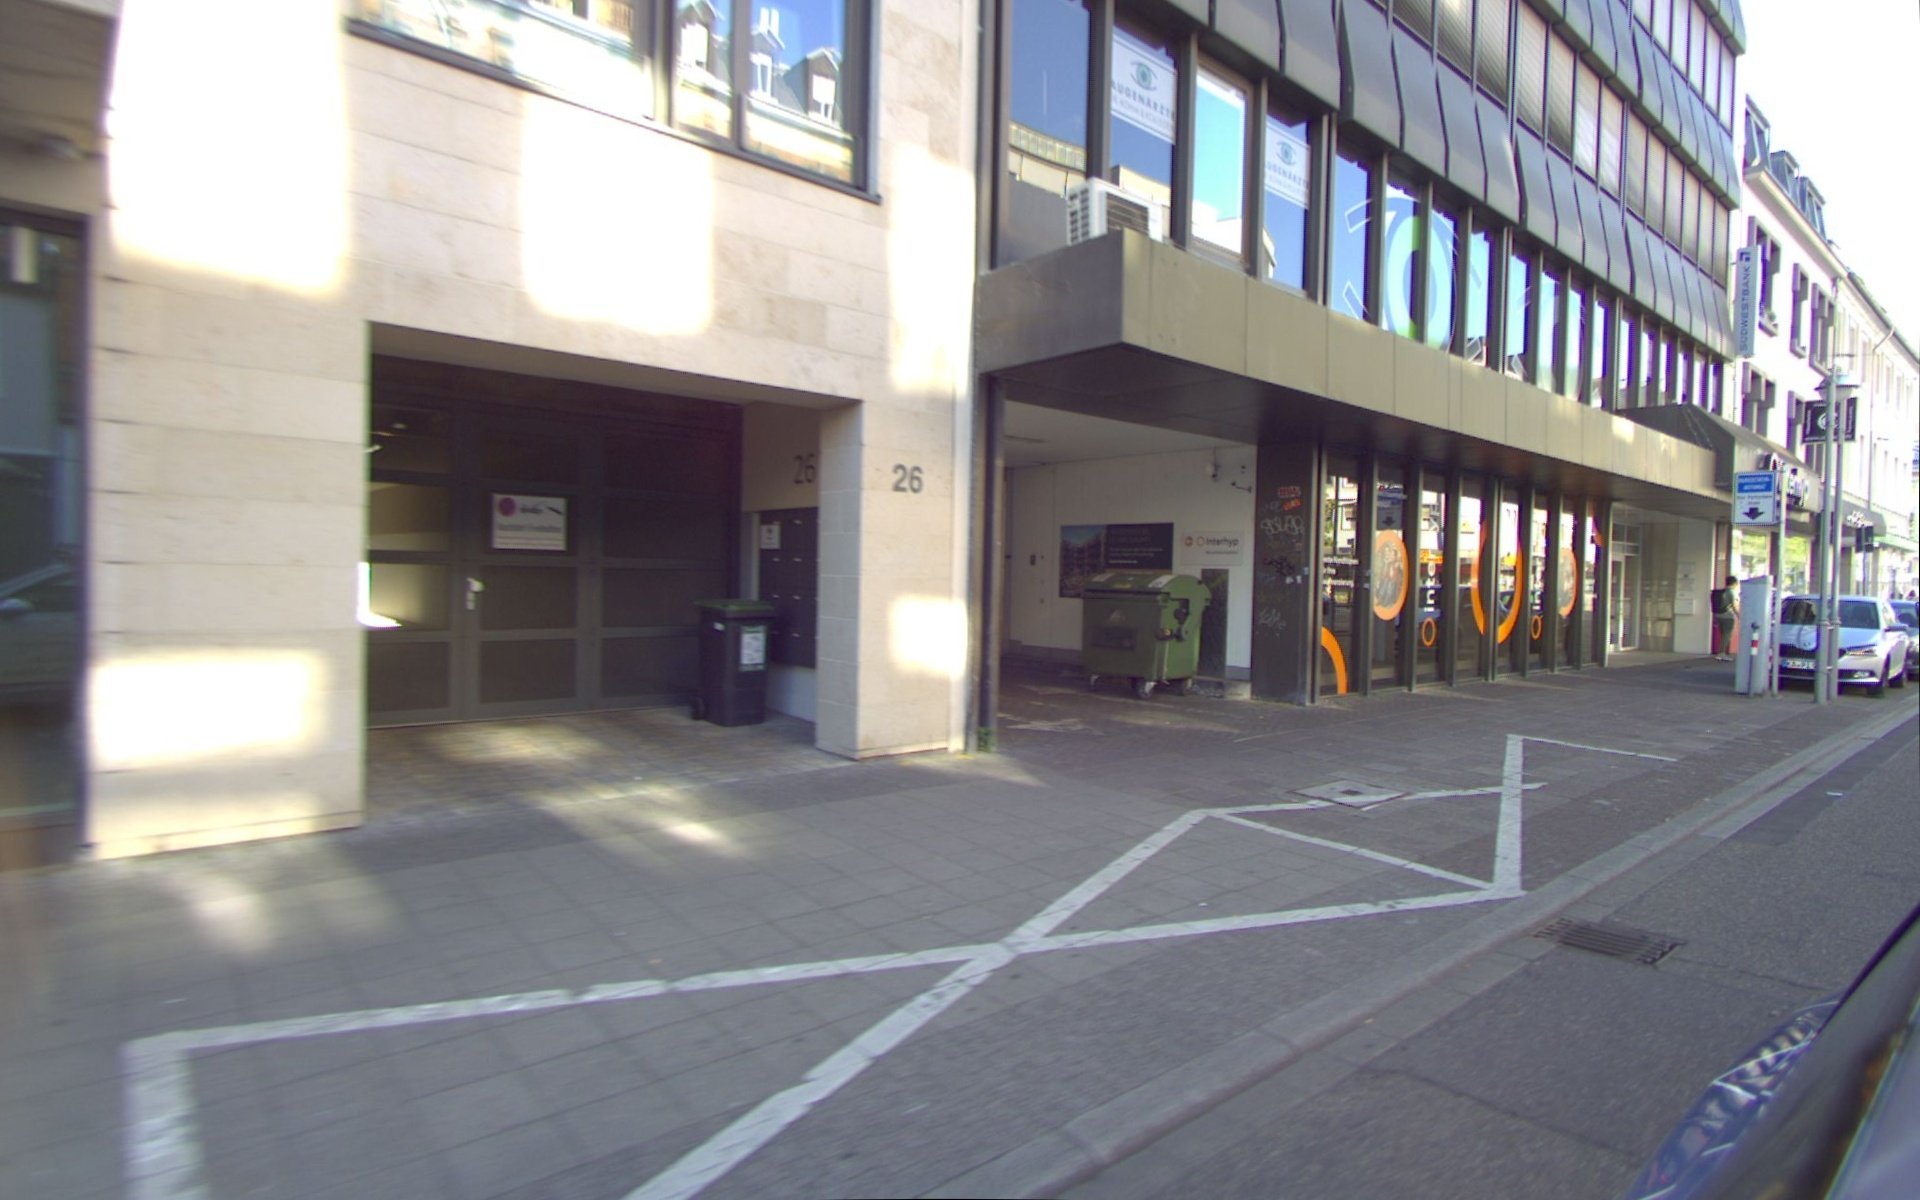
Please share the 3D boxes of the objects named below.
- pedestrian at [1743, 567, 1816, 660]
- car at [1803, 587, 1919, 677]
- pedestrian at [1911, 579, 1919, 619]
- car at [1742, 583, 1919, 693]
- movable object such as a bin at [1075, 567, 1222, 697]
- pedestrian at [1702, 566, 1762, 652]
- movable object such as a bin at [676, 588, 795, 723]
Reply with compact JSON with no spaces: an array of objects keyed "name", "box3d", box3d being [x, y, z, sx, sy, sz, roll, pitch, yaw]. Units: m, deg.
[{"name":"pedestrian","box3d":[17.157,0.260,21.187,0.981,1.865,0.925,0,3,-40]},{"name":"car","box3d":[17.738,0.533,19.209,4.225,1.480,1.853,-1,3,-39]},{"name":"pedestrian","box3d":[43.449,-0.030,45.592,0.562,1.781,0.651,0,1,-17]},{"name":"car","box3d":[14.020,0.491,16.047,4.221,1.480,1.749,-1,2,-41]},{"name":"movable object such as a bin","box3d":[2.264,0.336,12.242,1.020,1.446,1.415,-1,2,-41]},{"name":"pedestrian","box3d":[16.593,0.175,21.758,1.013,1.774,0.781,0,1,-40]},{"name":"movable object such as a bin","box3d":[-1.943,0.445,8.743,0.747,1.069,0.710,0,2,-41]}]
